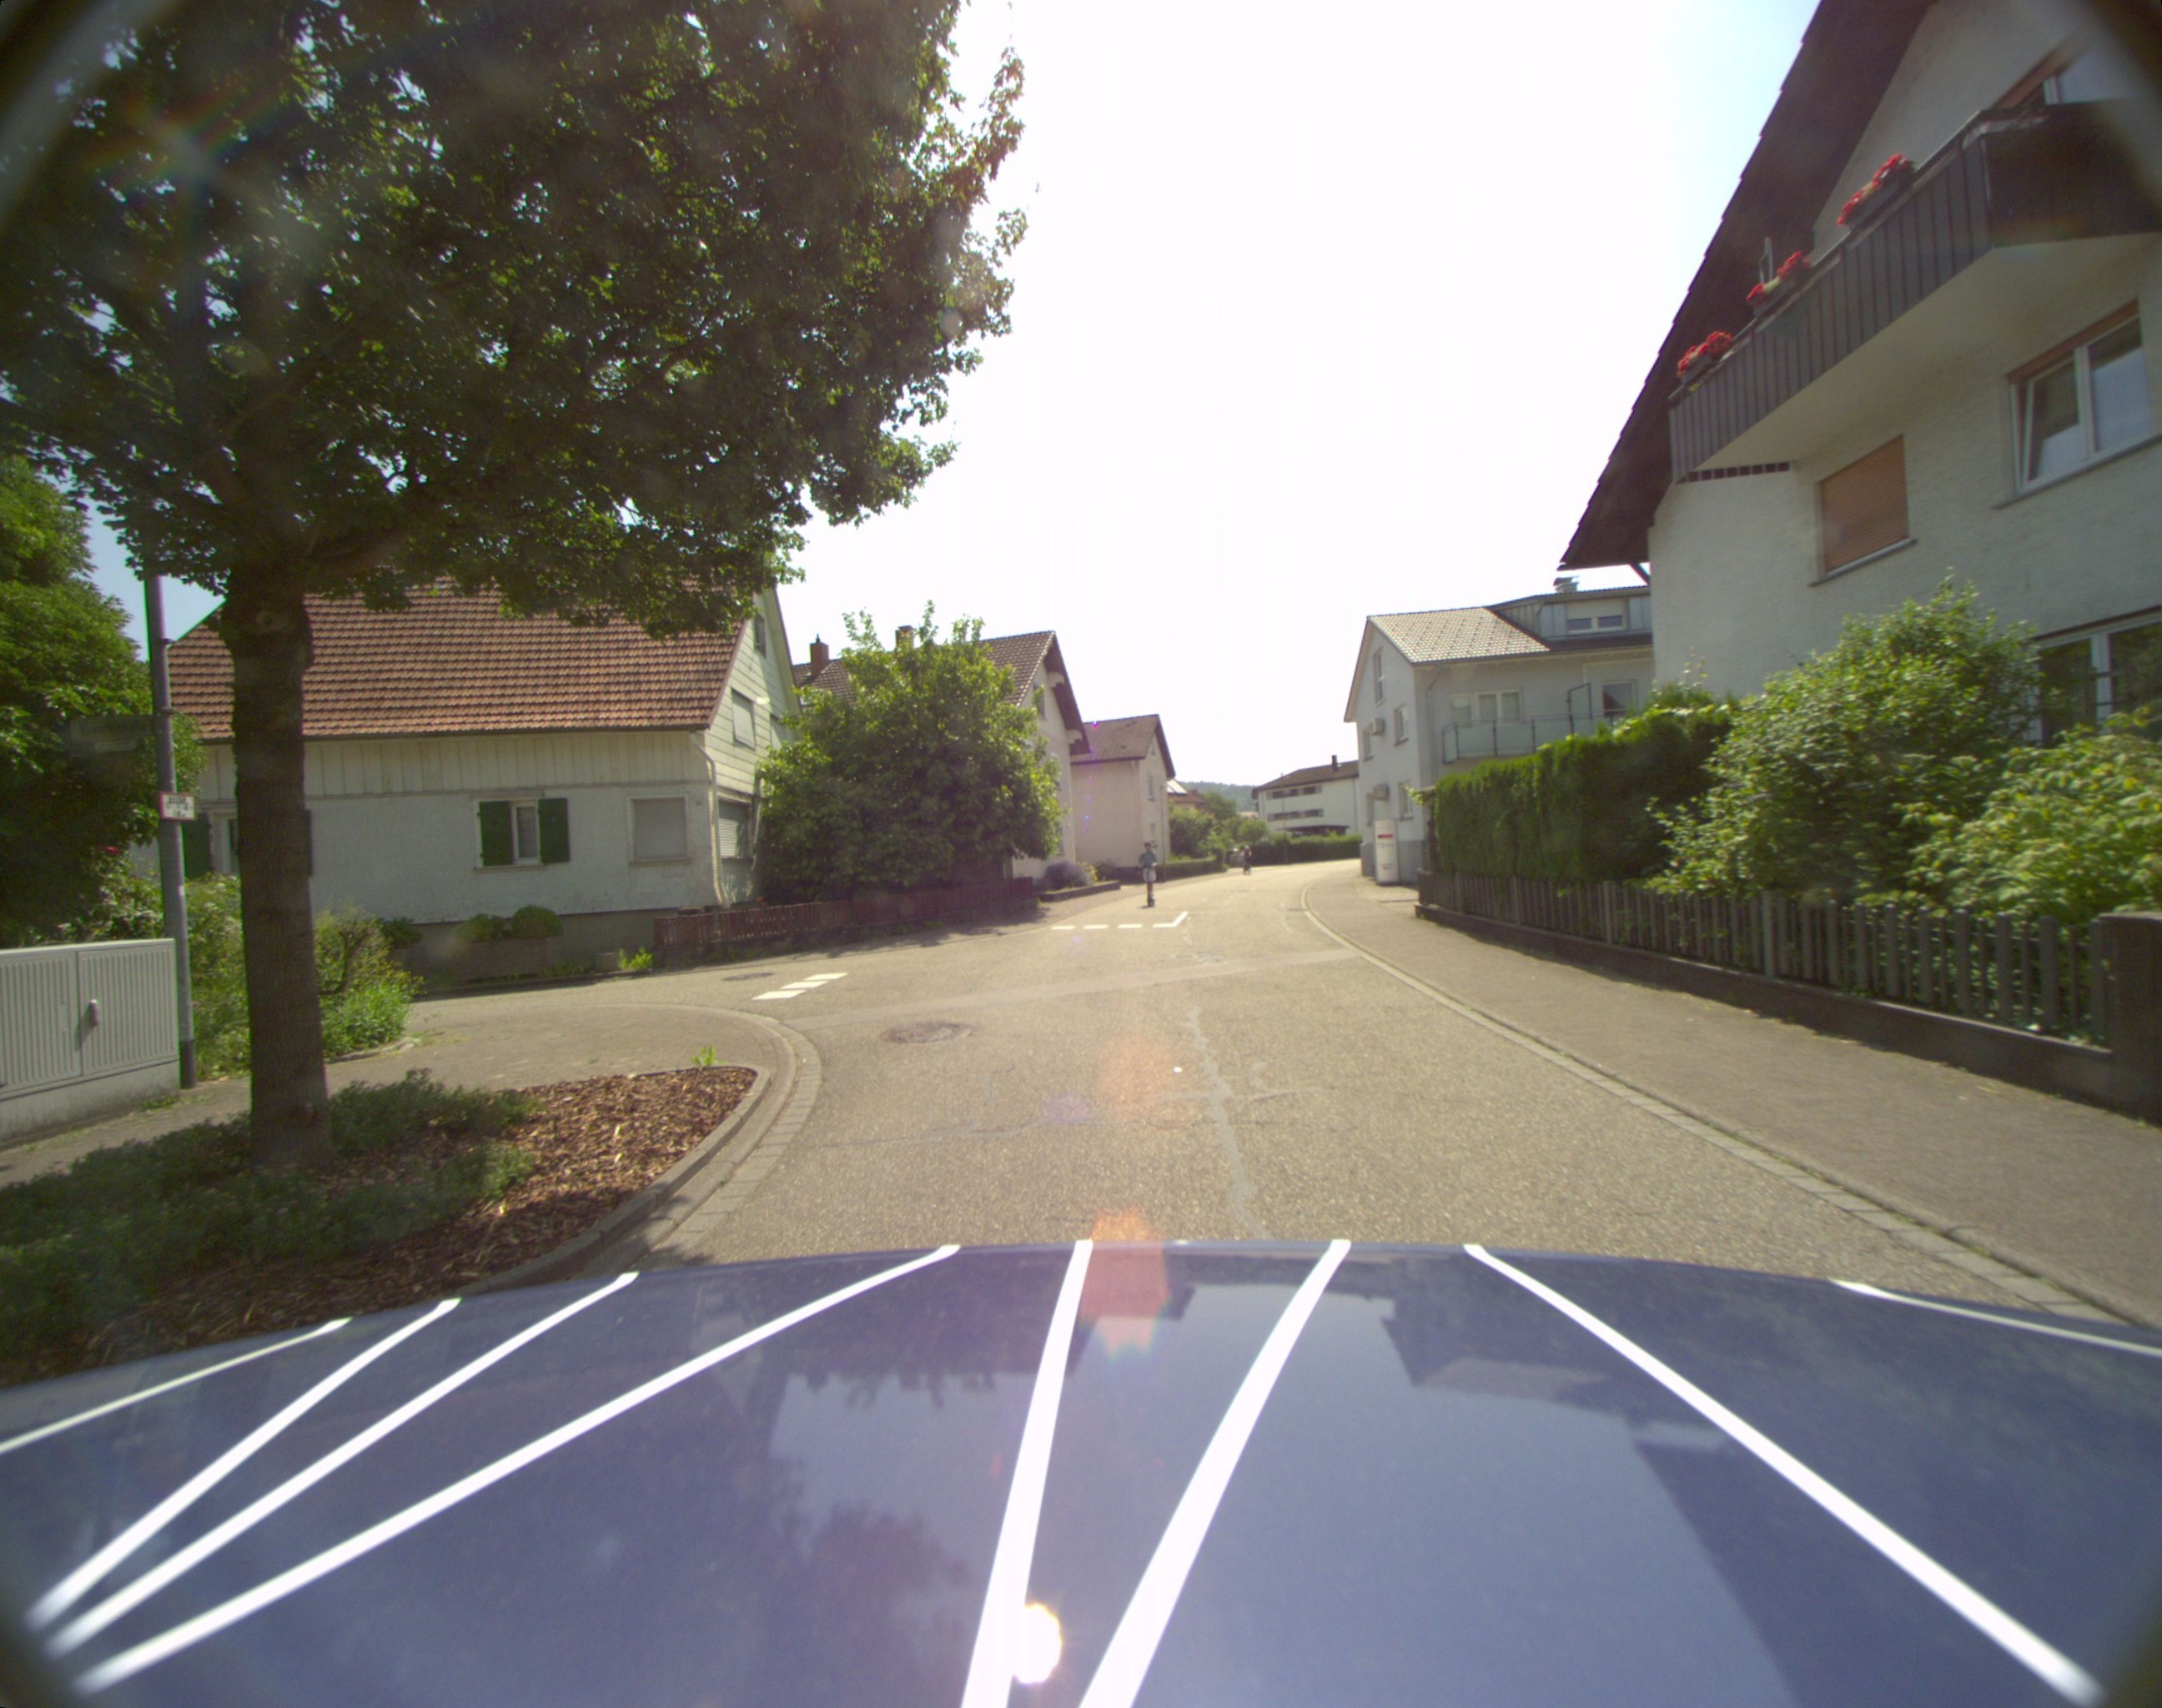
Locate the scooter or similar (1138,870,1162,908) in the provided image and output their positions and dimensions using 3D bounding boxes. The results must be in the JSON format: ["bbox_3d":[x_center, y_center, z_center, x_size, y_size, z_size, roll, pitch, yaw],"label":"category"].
[{"bbox_3d":[2.099,1.059,23.042,0.542,1.083,0.692,-3,1,14],"label":"scooter or similar"}]

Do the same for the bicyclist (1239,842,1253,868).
[{"bbox_3d":[9.830,0.059,45.229,0.546,1.481,0.798,-2,1,30],"label":"bicyclist"}]

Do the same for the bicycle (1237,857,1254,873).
[{"bbox_3d":[9.758,0.656,45.063,0.520,0.898,1.315,-3,1,30],"label":"bicycle"}]

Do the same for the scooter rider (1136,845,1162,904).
[{"bbox_3d":[2.073,0.612,23.029,0.616,1.714,0.641,-3,1,14],"label":"scooter rider"}]
